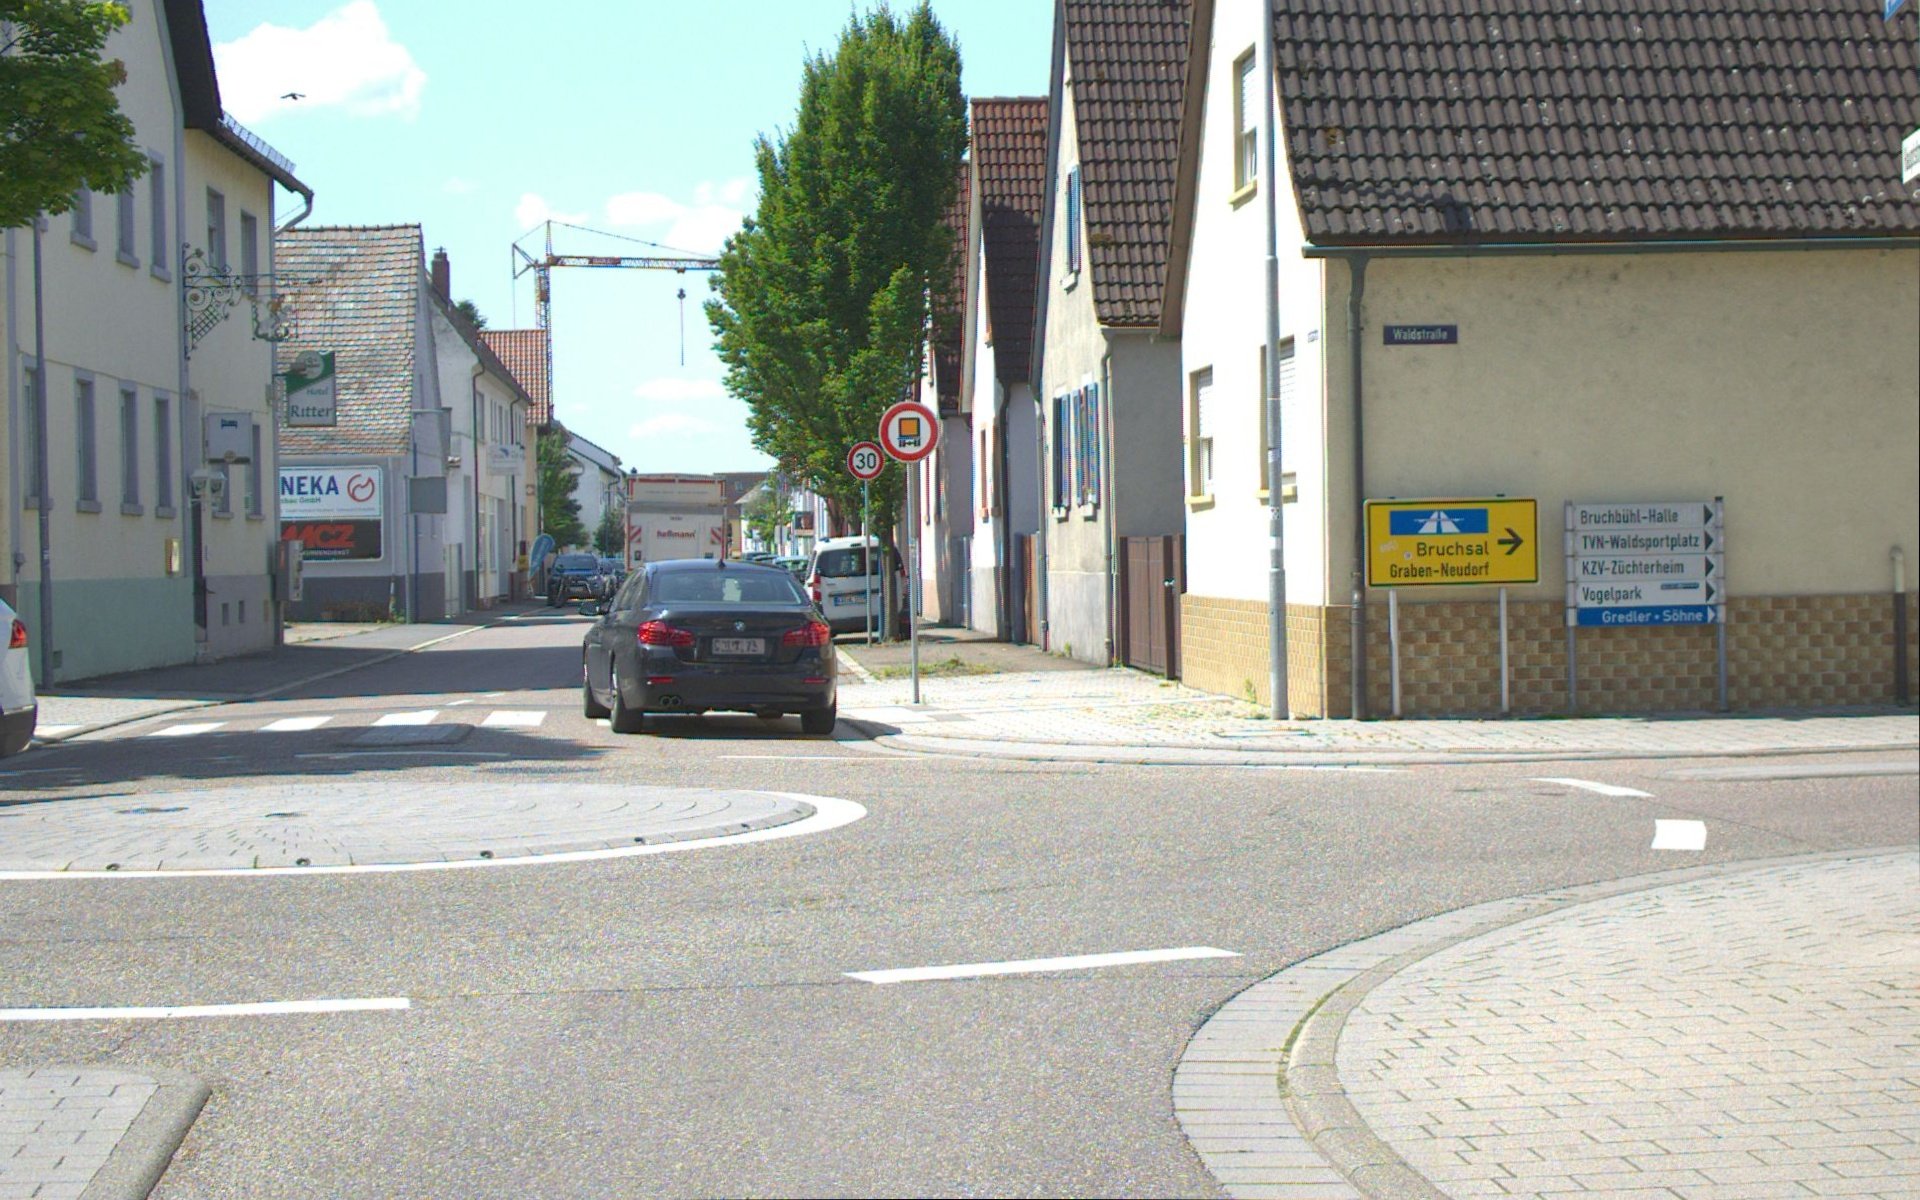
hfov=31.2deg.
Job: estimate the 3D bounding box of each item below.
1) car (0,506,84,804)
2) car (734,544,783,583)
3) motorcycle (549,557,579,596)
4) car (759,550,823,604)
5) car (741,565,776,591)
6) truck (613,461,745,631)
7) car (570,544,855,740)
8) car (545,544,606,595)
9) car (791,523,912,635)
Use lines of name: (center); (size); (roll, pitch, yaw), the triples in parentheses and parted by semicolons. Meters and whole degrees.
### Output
car: (-7.105, 0.365, 18.727); (1.869, 1.704, 4.535); (0, 1, 30)
car: (-7.267, -1.314, 123.670); (1.719, 1.350, 4.157); (0, 1, -4)
motorcycle: (-12.153, -0.728, 105.443); (0.846, 1.166, 2.470); (1, 0, -5)
car: (-4.684, -0.653, 95.440); (1.719, 1.456, 4.157); (0, 1, -2)
car: (-10.127, -1.133, 172.759); (1.719, 1.264, 4.157); (0, 1, -4)
truck: (-7.350, -1.376, 91.029); (3.144, 4.236, 9.303); (1, 0, -3)
car: (-2.234, 0.299, 29.904); (1.901, 1.558, 4.478); (-1, 1, -12)
car: (-12.212, -0.972, 109.450); (1.809, 1.583, 4.001); (0, 1, -5)
car: (-1.884, -0.375, 58.648); (1.719, 1.784, 4.145); (-2, 1, -6)
